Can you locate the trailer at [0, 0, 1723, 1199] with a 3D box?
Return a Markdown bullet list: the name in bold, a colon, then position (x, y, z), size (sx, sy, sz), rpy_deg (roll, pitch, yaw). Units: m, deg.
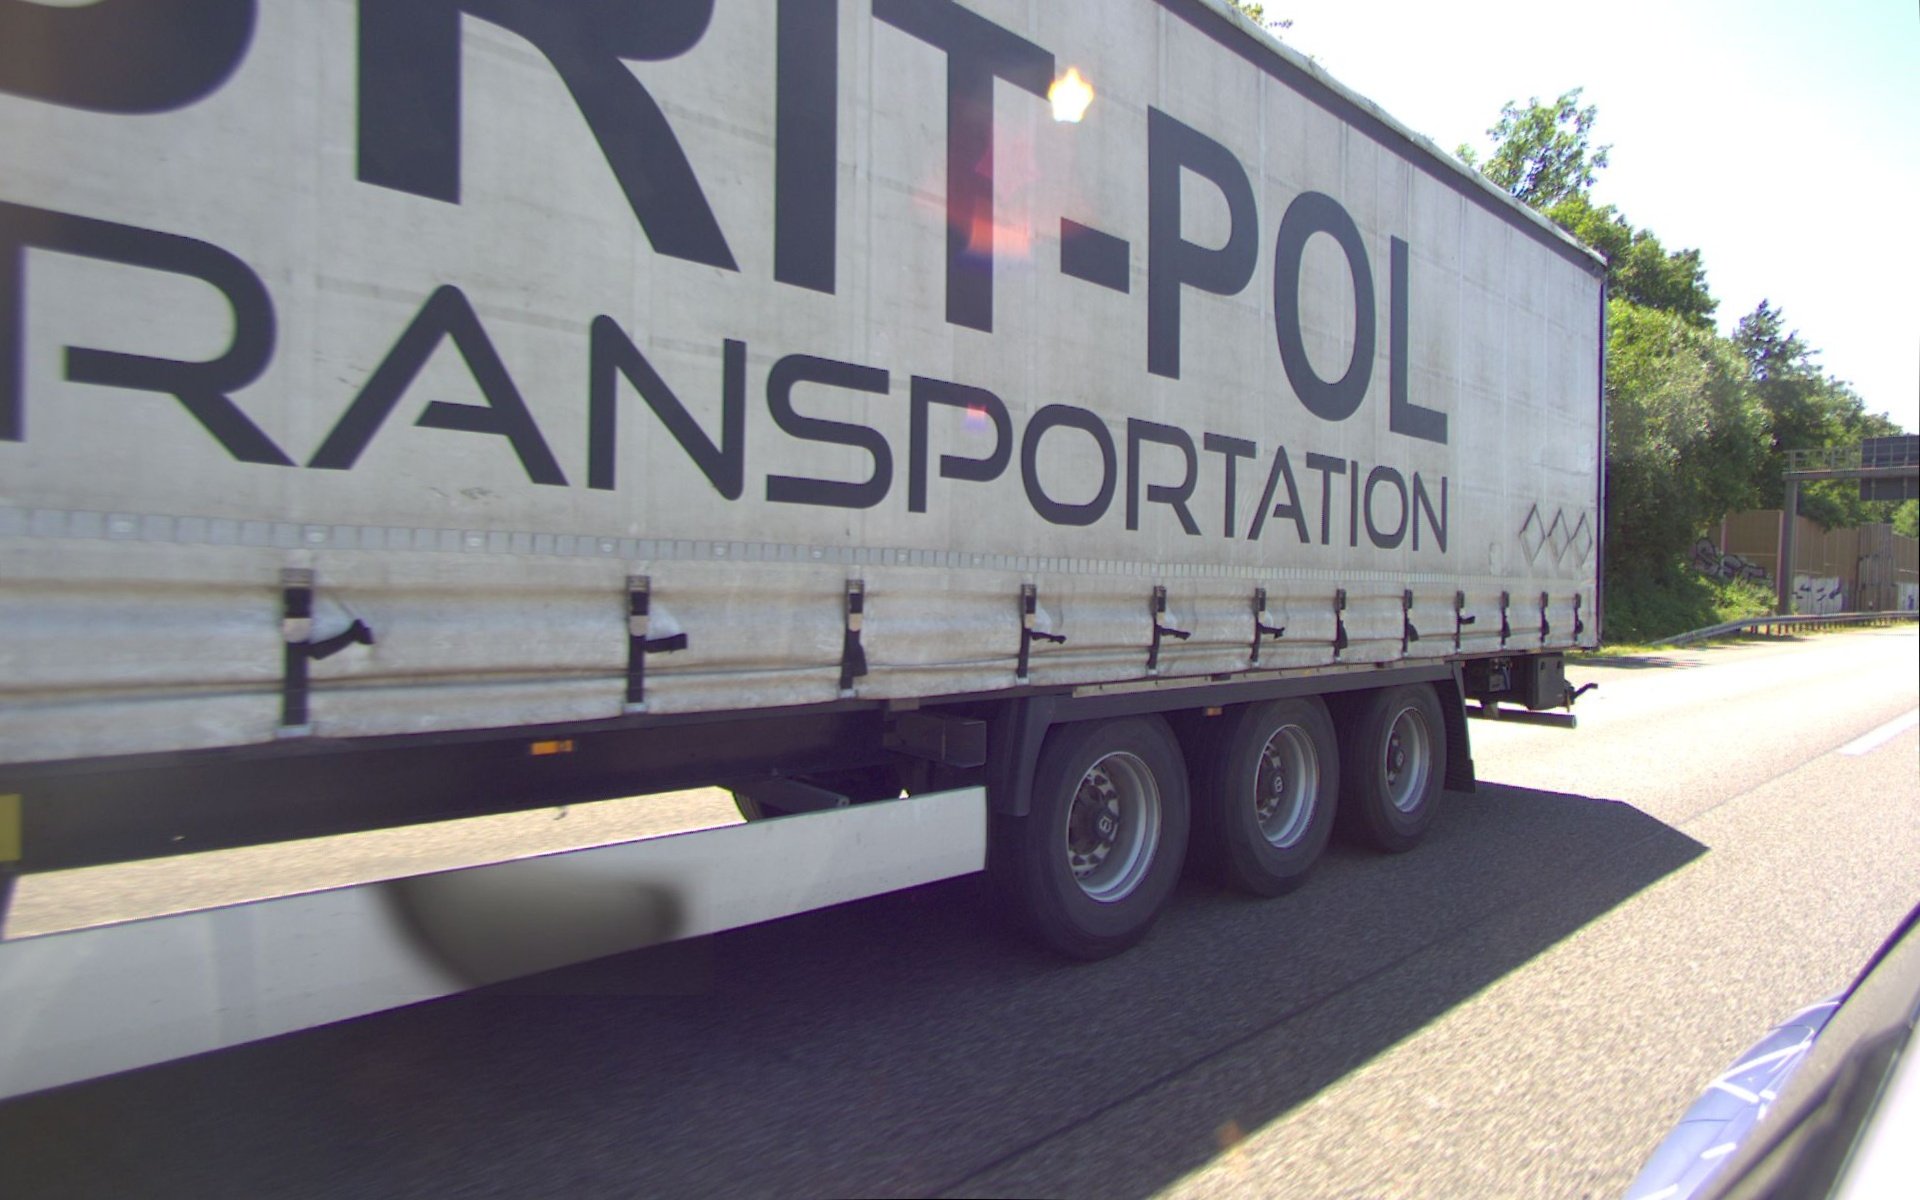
- **trailer**: position (0.146, -0.874, 5.369), size (14.633, 4.563, 3.112), rpy_deg (-1, 1, -40)
